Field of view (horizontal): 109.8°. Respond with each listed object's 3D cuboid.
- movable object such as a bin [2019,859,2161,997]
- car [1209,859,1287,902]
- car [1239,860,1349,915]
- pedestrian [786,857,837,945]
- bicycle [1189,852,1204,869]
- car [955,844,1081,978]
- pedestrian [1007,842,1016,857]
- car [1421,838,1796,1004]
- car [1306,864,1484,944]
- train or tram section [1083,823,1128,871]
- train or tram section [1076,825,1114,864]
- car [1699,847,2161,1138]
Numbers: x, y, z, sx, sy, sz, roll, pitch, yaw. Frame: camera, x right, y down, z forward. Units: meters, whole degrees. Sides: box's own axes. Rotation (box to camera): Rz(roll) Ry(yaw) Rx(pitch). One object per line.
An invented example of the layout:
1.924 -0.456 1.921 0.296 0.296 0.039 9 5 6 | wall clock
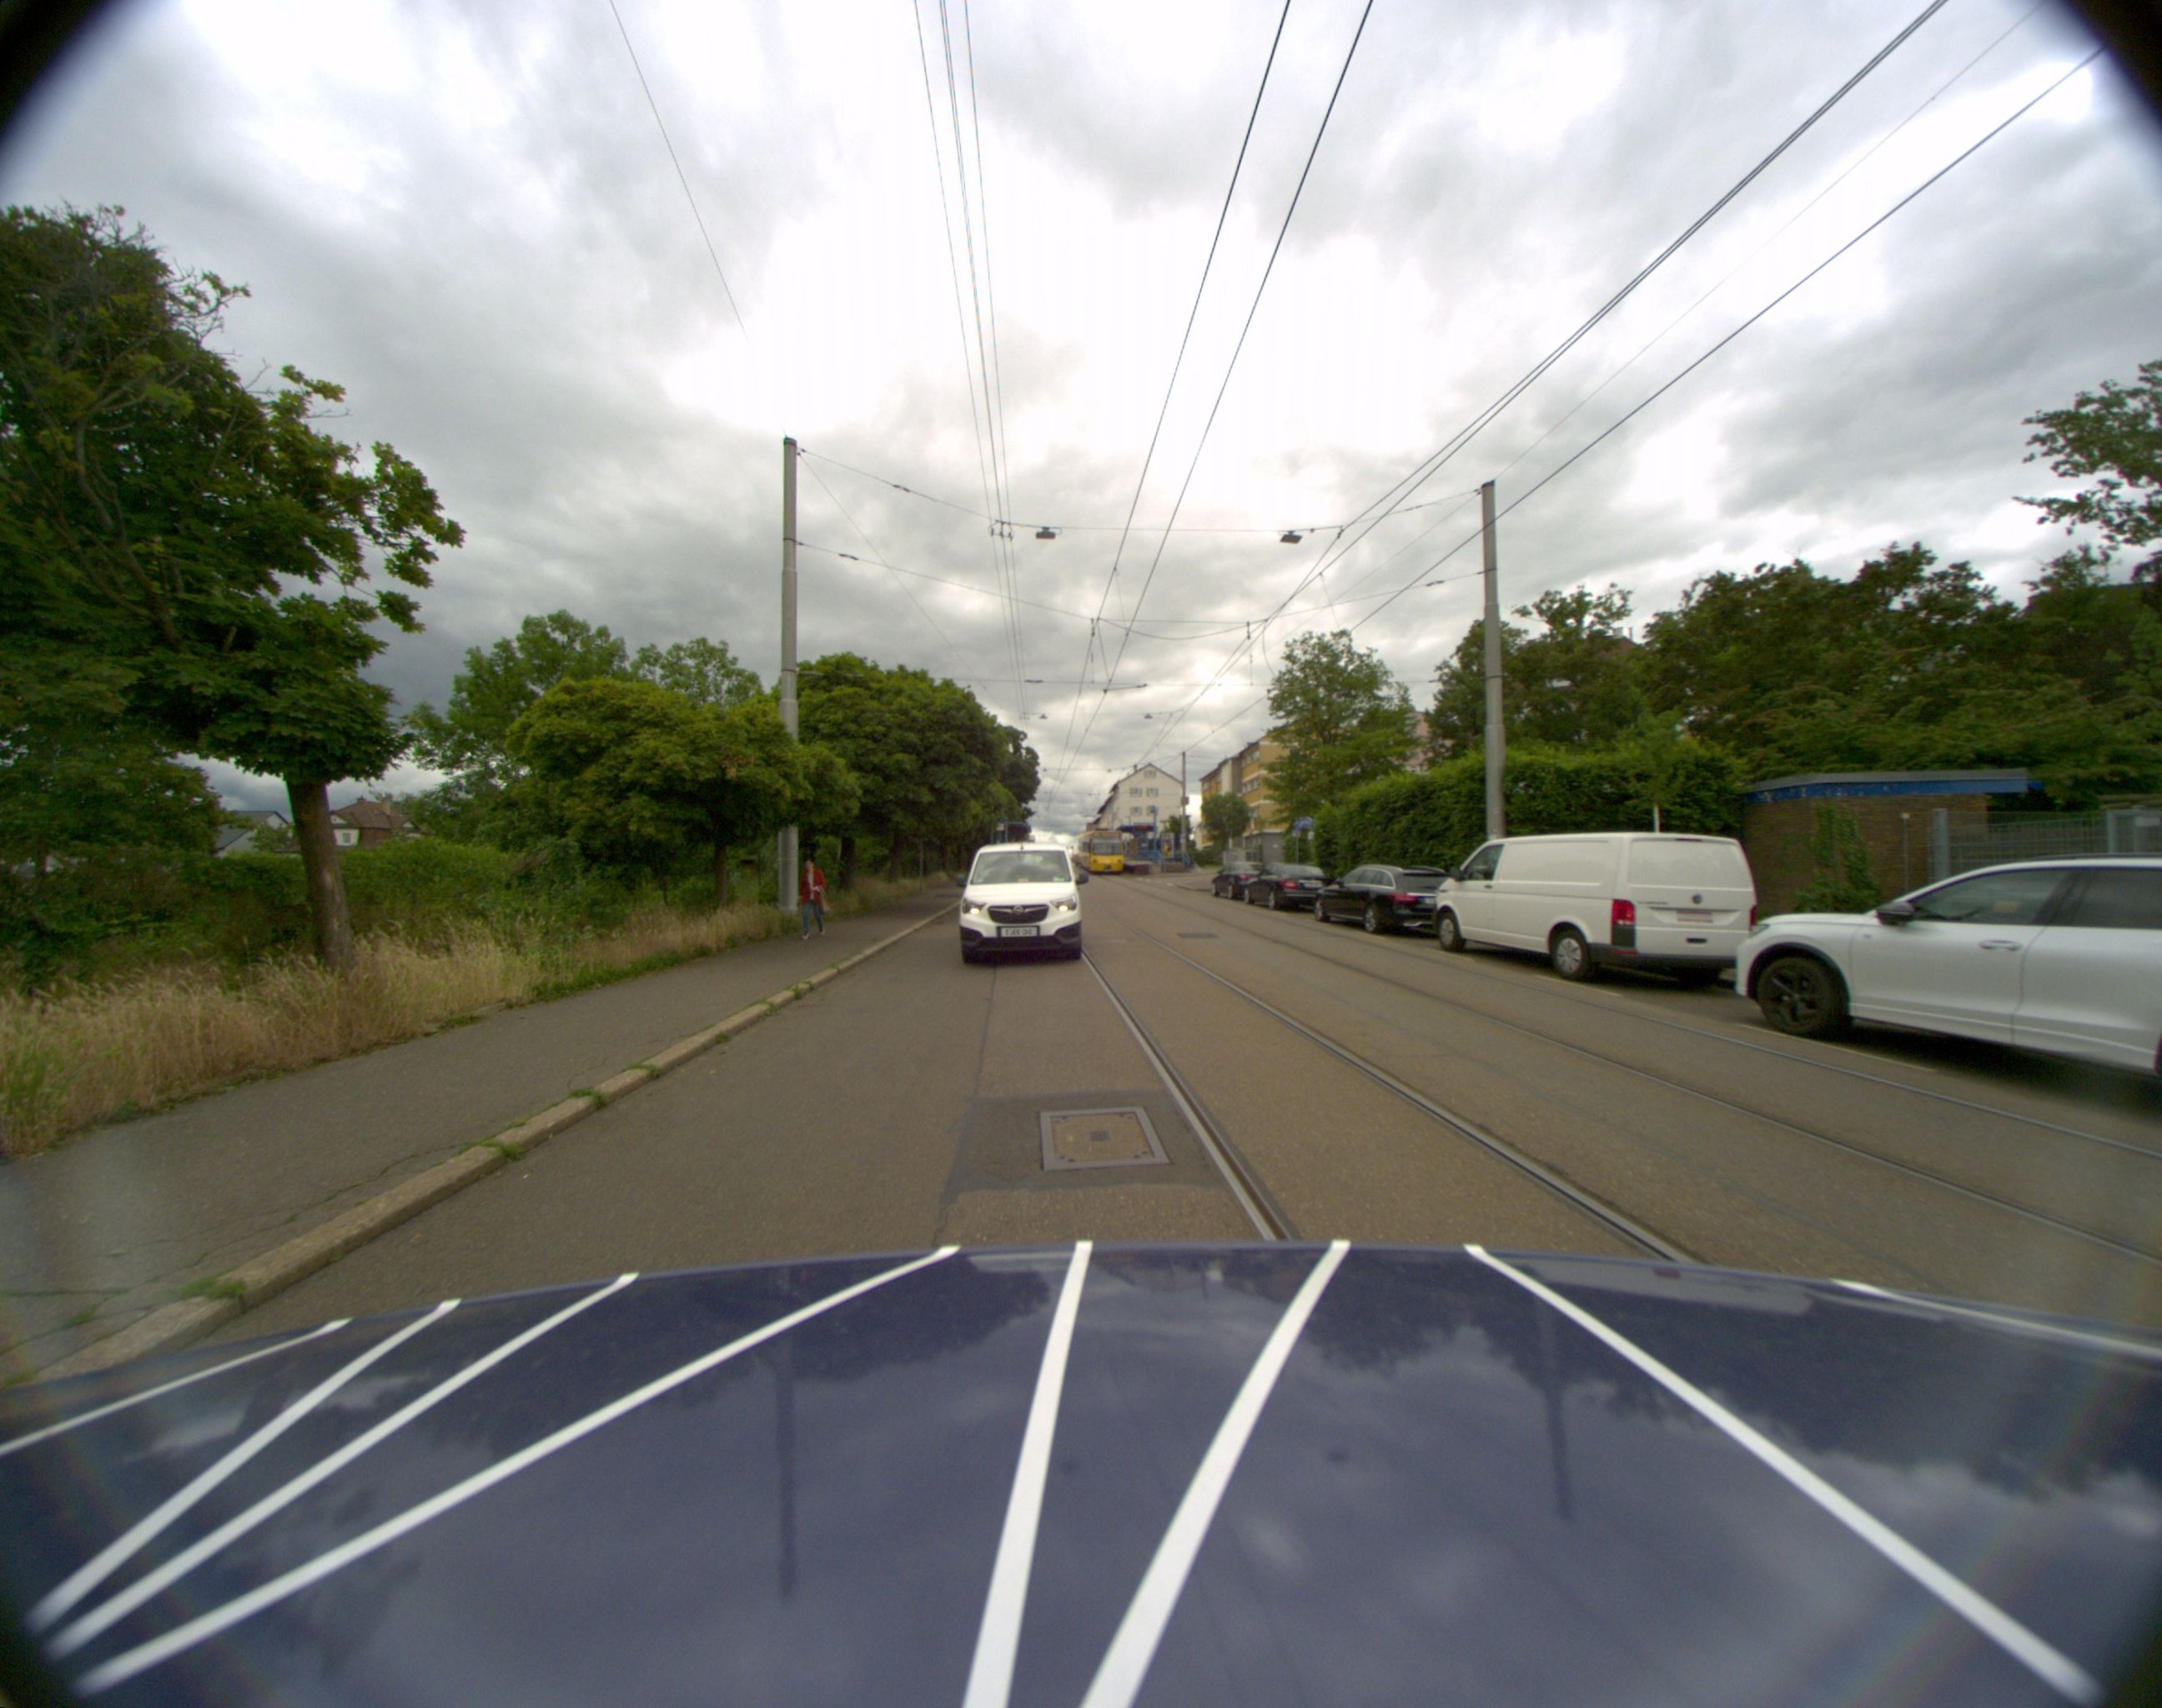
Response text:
10.739 0.720 7.872 0.736 1.290 1.051 -2 1 -1 | movable object such as a bin
6.214 0.941 28.784 1.795 1.396 4.159 1 1 -4 | car
6.358 0.942 23.233 1.845 1.379 4.437 1 1 -4 | car
-5.115 0.877 14.476 0.717 1.611 0.718 0 1 -2 | pedestrian
8.195 0.479 53.979 0.713 1.174 1.487 0 2 -2 | bicycle
-0.920 0.778 12.728 1.730 1.850 4.419 0 0 -1 | car
-6.148 -0.401 66.938 0.781 1.307 0.656 0 1 -2 | pedestrian
7.192 0.738 11.177 1.974 1.902 4.732 1 1 -4 | car
6.725 0.994 16.898 1.845 1.379 4.515 1 1 -4 | car
1.854 -0.586 63.433 2.858 3.615 12.125 0 1 -3 | train or tram section
1.238 -0.932 75.600 2.832 3.615 12.124 0 1 -3 | train or tram section
7.332 0.832 5.343 1.974 1.677 4.630 1 1 -4 | car
